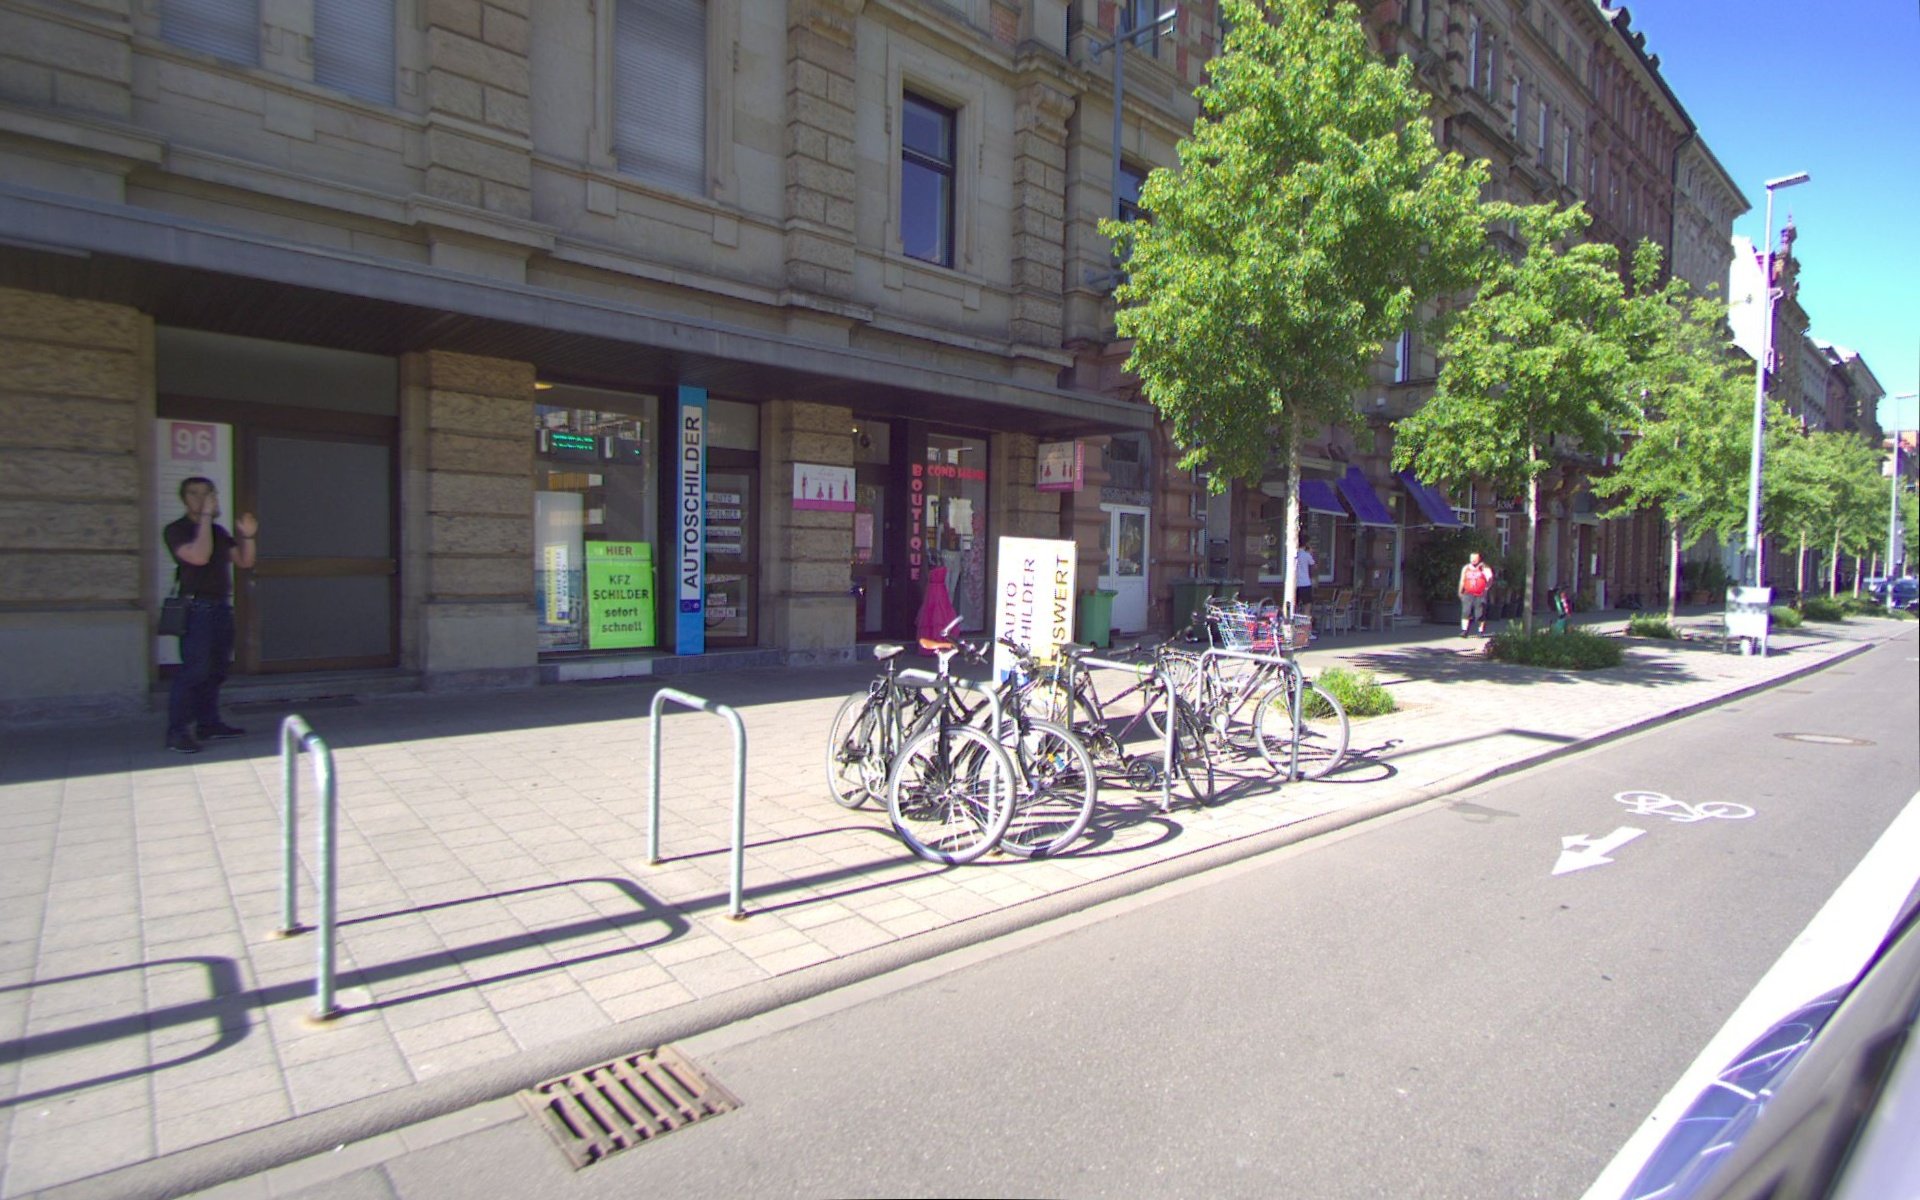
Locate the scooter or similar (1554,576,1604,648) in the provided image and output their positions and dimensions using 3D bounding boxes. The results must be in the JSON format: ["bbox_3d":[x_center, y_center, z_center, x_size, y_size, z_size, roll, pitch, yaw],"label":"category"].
[{"bbox_3d":[10.891,0.197,17.809,0.320,1.235,0.676,0,2,-19],"label":"scooter or similar"}]

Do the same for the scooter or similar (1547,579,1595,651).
[{"bbox_3d":[10.449,0.249,17.324,0.283,1.187,0.640,0,2,-19],"label":"scooter or similar"}]

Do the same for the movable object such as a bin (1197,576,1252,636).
[{"bbox_3d":[4.474,0.086,17.134,0.576,0.986,0.693,-2,2,-37],"label":"movable object such as a bin"}]

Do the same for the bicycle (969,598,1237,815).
[{"bbox_3d":[0.891,0.619,6.638,1.662,1.123,0.594,5,5,41],"label":"bicycle"}]

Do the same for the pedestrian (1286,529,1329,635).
[{"bbox_3d":[6.258,-0.334,18.232,0.491,1.872,0.513,0,1,-34],"label":"pedestrian"}]

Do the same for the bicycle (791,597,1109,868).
[{"bbox_3d":[-0.154,0.623,5.726,0.592,1.133,2.053,-2,5,-41],"label":"bicycle"}]

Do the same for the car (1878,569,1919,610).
[{"bbox_3d":[38.672,-0.455,41.114,3.685,1.603,1.668,-2,1,-42],"label":"car"}]

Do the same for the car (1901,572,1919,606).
[{"bbox_3d":[43.267,-0.513,45.060,3.685,1.479,1.668,-2,1,-42],"label":"car"}]

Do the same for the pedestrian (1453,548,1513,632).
[{"bbox_3d":[10.393,-0.210,20.103,0.794,1.603,0.753,-1,4,-41],"label":"pedestrian"}]

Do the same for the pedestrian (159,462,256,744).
[{"bbox_3d":[-5.109,0.011,6.897,0.491,1.823,0.513,0,1,-34],"label":"pedestrian"}]

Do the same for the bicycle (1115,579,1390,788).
[{"bbox_3d":[2.136,0.538,7.617,0.680,1.266,1.868,-2,6,-42],"label":"bicycle"}]

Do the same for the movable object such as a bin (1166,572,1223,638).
[{"bbox_3d":[3.883,0.070,16.753,0.576,1.025,0.693,-2,4,-37],"label":"movable object such as a bin"}]

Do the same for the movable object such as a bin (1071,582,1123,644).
[{"bbox_3d":[2.043,0.185,15.137,0.467,0.876,0.606,-2,4,-37],"label":"movable object such as a bin"}]
